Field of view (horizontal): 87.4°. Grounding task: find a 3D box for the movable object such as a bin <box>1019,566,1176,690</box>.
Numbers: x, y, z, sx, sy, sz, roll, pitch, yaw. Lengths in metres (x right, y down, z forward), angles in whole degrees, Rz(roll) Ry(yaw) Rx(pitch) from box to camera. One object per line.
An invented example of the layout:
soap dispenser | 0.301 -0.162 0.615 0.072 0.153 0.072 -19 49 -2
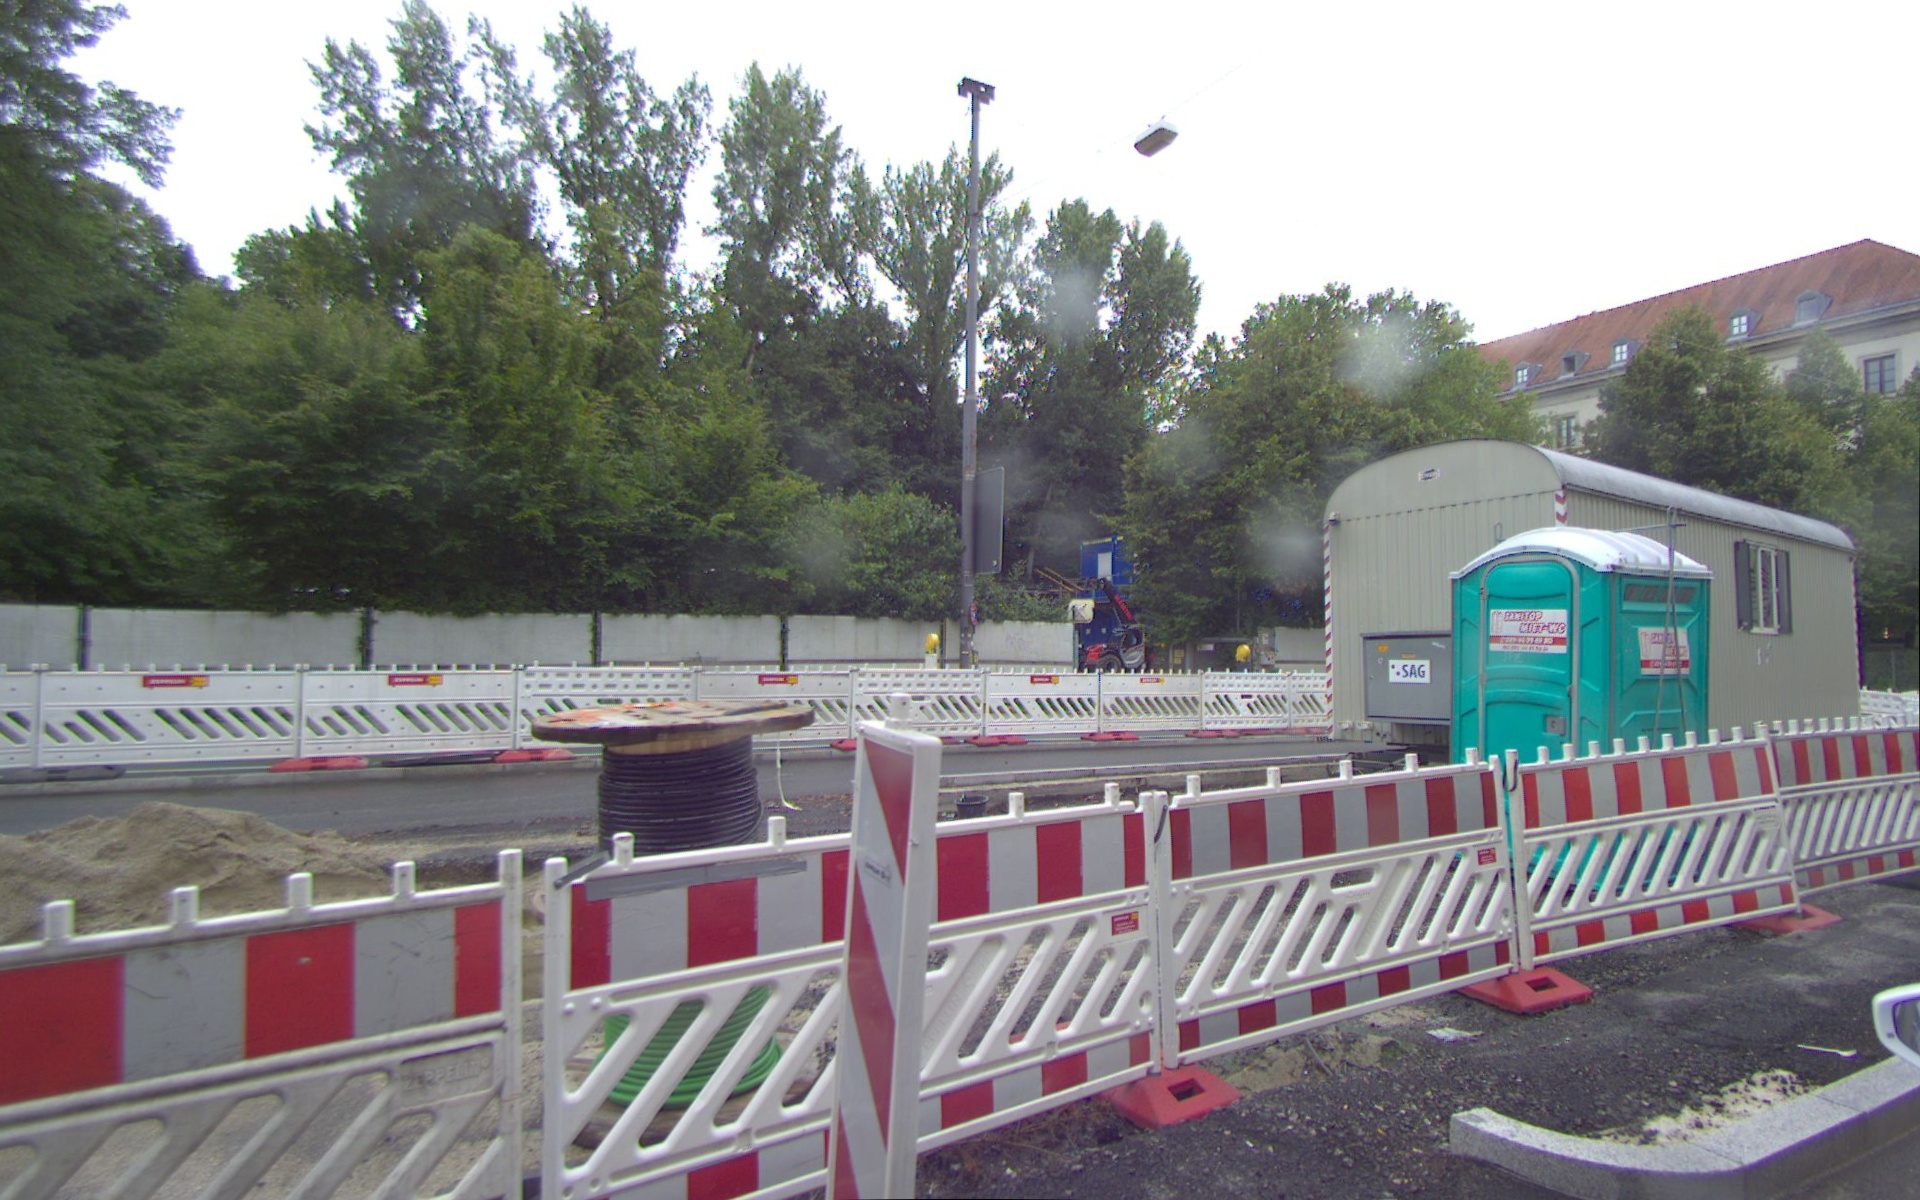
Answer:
movable object such as a bin | 4.811 1.043 35.033 5.008 4.014 2.454 2 -3 -31

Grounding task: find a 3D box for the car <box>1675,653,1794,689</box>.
car | 37.931 3.447 49.308 1.783 1.670 4.245 2 -3 -29
